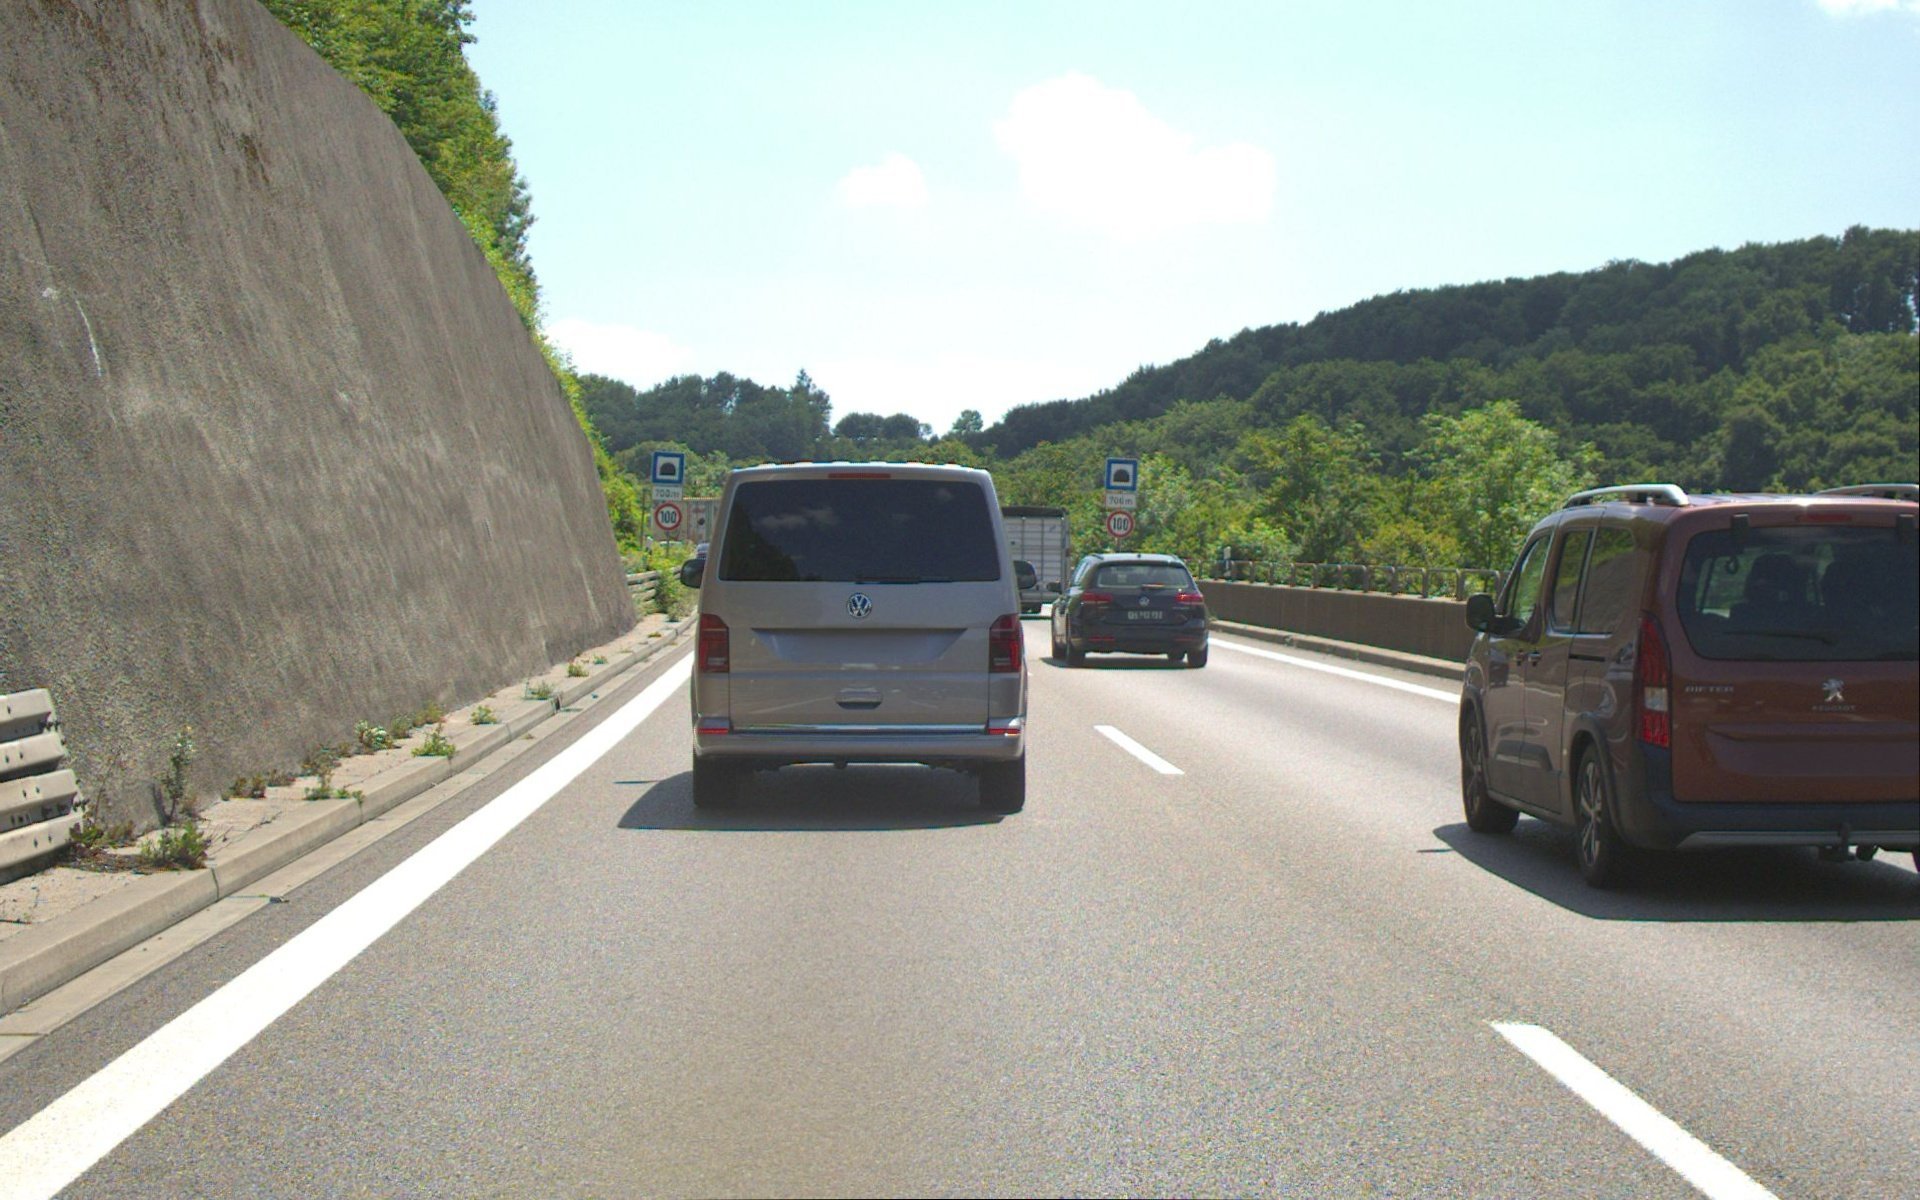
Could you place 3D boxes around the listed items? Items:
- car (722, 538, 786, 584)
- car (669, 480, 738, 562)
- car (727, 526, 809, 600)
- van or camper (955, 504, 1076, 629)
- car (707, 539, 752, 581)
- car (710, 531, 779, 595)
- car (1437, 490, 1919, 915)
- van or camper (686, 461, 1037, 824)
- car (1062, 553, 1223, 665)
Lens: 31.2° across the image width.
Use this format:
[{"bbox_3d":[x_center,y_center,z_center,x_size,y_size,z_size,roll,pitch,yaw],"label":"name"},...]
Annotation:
[{"bbox_3d":[-7.387,-1.397,122.809,2.142,1.601,5.079,0,1,-5],"label":"car"},{"bbox_3d":[-15.675,-4.817,209.958,4.043,4.855,10.111,1,1,-4],"label":"car"},{"bbox_3d":[-4.891,-0.955,87.264,1.993,1.811,4.001,0,1,-4],"label":"car"},{"bbox_3d":[1.161,-0.735,73.932,2.263,2.542,4.737,-1,1,-3],"label":"van or camper"},{"bbox_3d":[-11.214,-1.948,167.536,1.993,2.007,4.000,-1,0,-2],"label":"car"},{"bbox_3d":[-6.612,-1.145,105.813,1.993,1.908,4.000,0,1,-2],"label":"car"},{"bbox_3d":[3.660,0.408,16.813,1.833,1.778,4.676,0,0,-2],"label":"car"},{"bbox_3d":[-0.551,0.191,20.555,1.875,1.943,4.294,0,1,-1],"label":"van or camper"},{"bbox_3d":[2.328,0.093,44.707,1.768,1.371,3.593,1,1,-2],"label":"car"}]
